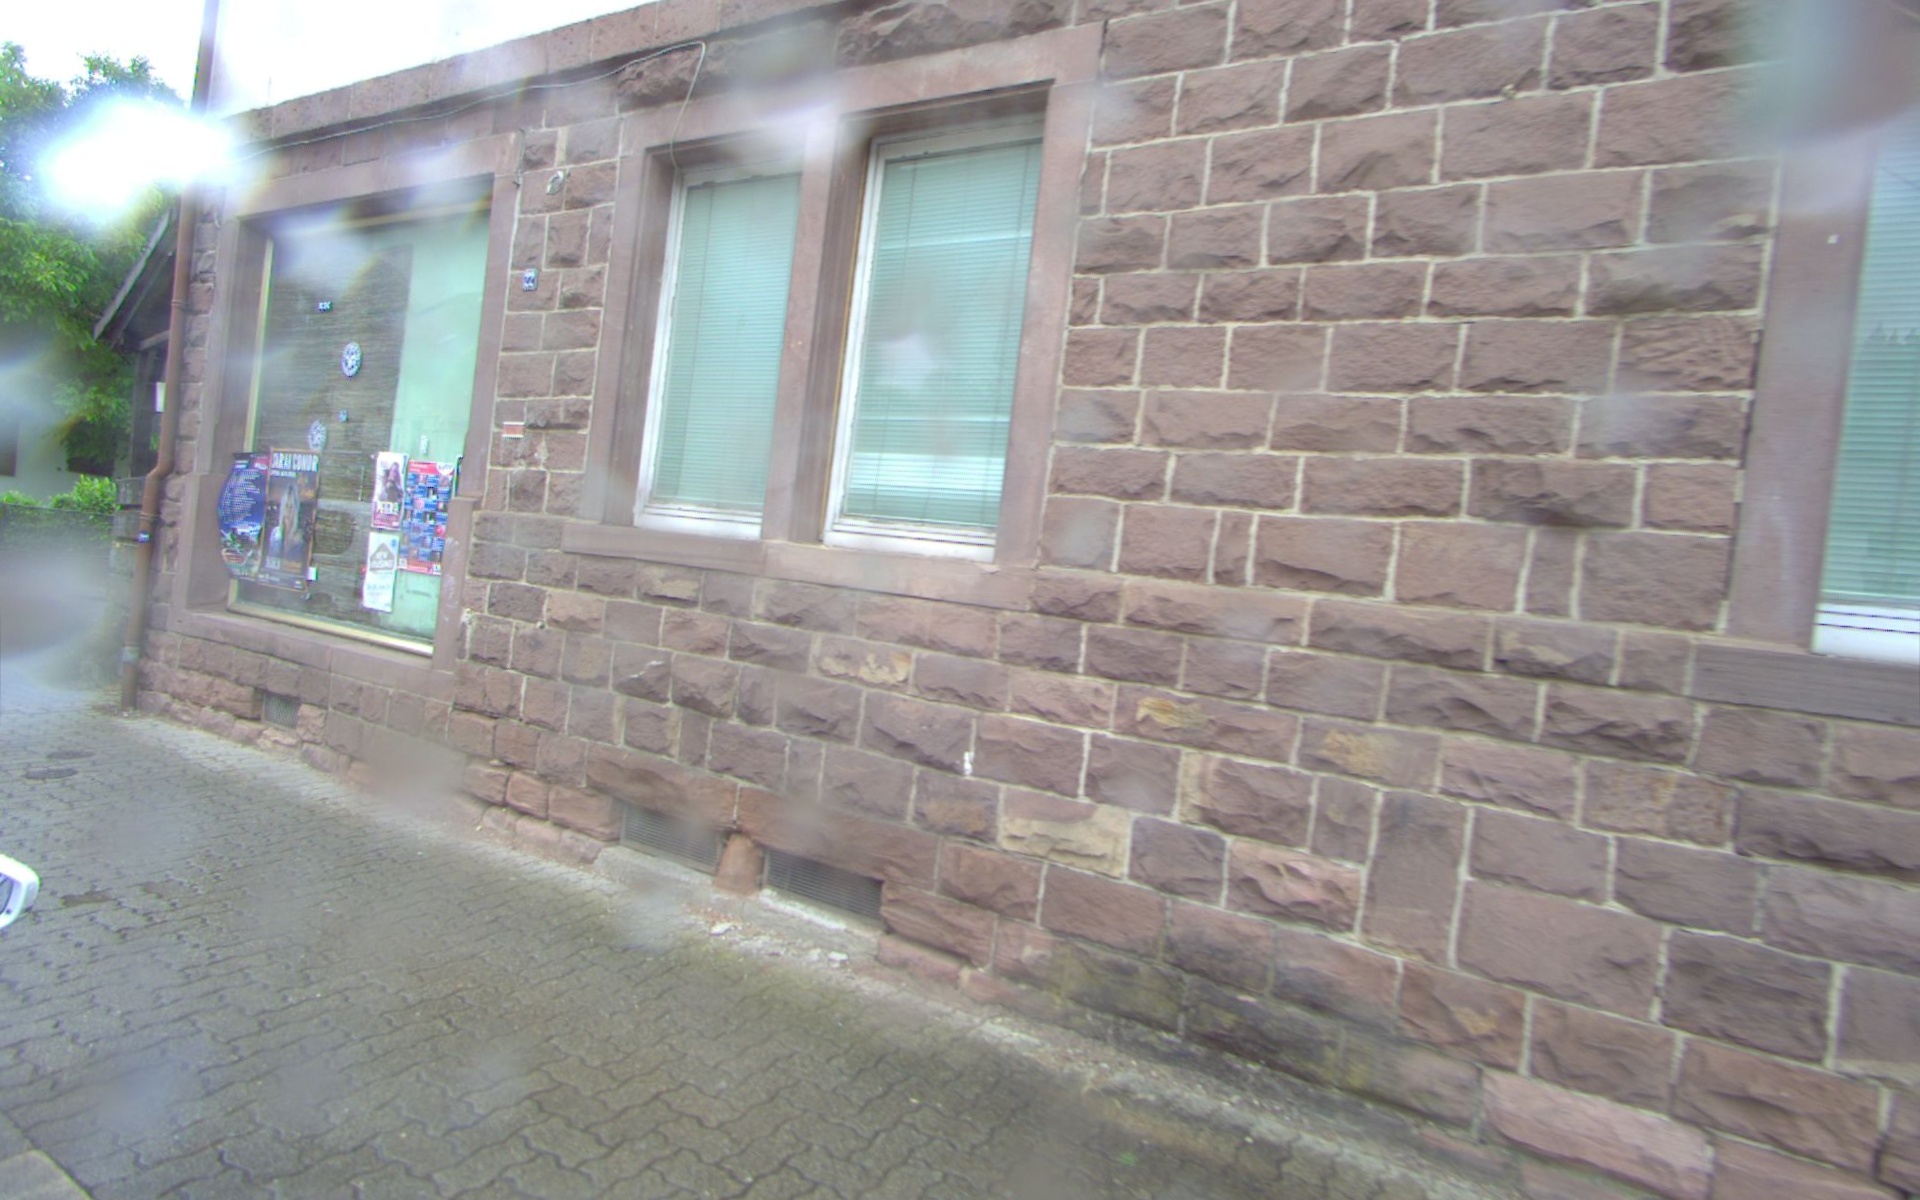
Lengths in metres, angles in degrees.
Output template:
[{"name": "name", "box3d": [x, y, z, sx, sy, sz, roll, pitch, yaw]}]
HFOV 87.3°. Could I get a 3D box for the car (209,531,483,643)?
[{"name": "car", "box3d": [-11.364, -0.200, 18.796, 3.979, 1.483, 1.762, 10, -4, -44]}]
